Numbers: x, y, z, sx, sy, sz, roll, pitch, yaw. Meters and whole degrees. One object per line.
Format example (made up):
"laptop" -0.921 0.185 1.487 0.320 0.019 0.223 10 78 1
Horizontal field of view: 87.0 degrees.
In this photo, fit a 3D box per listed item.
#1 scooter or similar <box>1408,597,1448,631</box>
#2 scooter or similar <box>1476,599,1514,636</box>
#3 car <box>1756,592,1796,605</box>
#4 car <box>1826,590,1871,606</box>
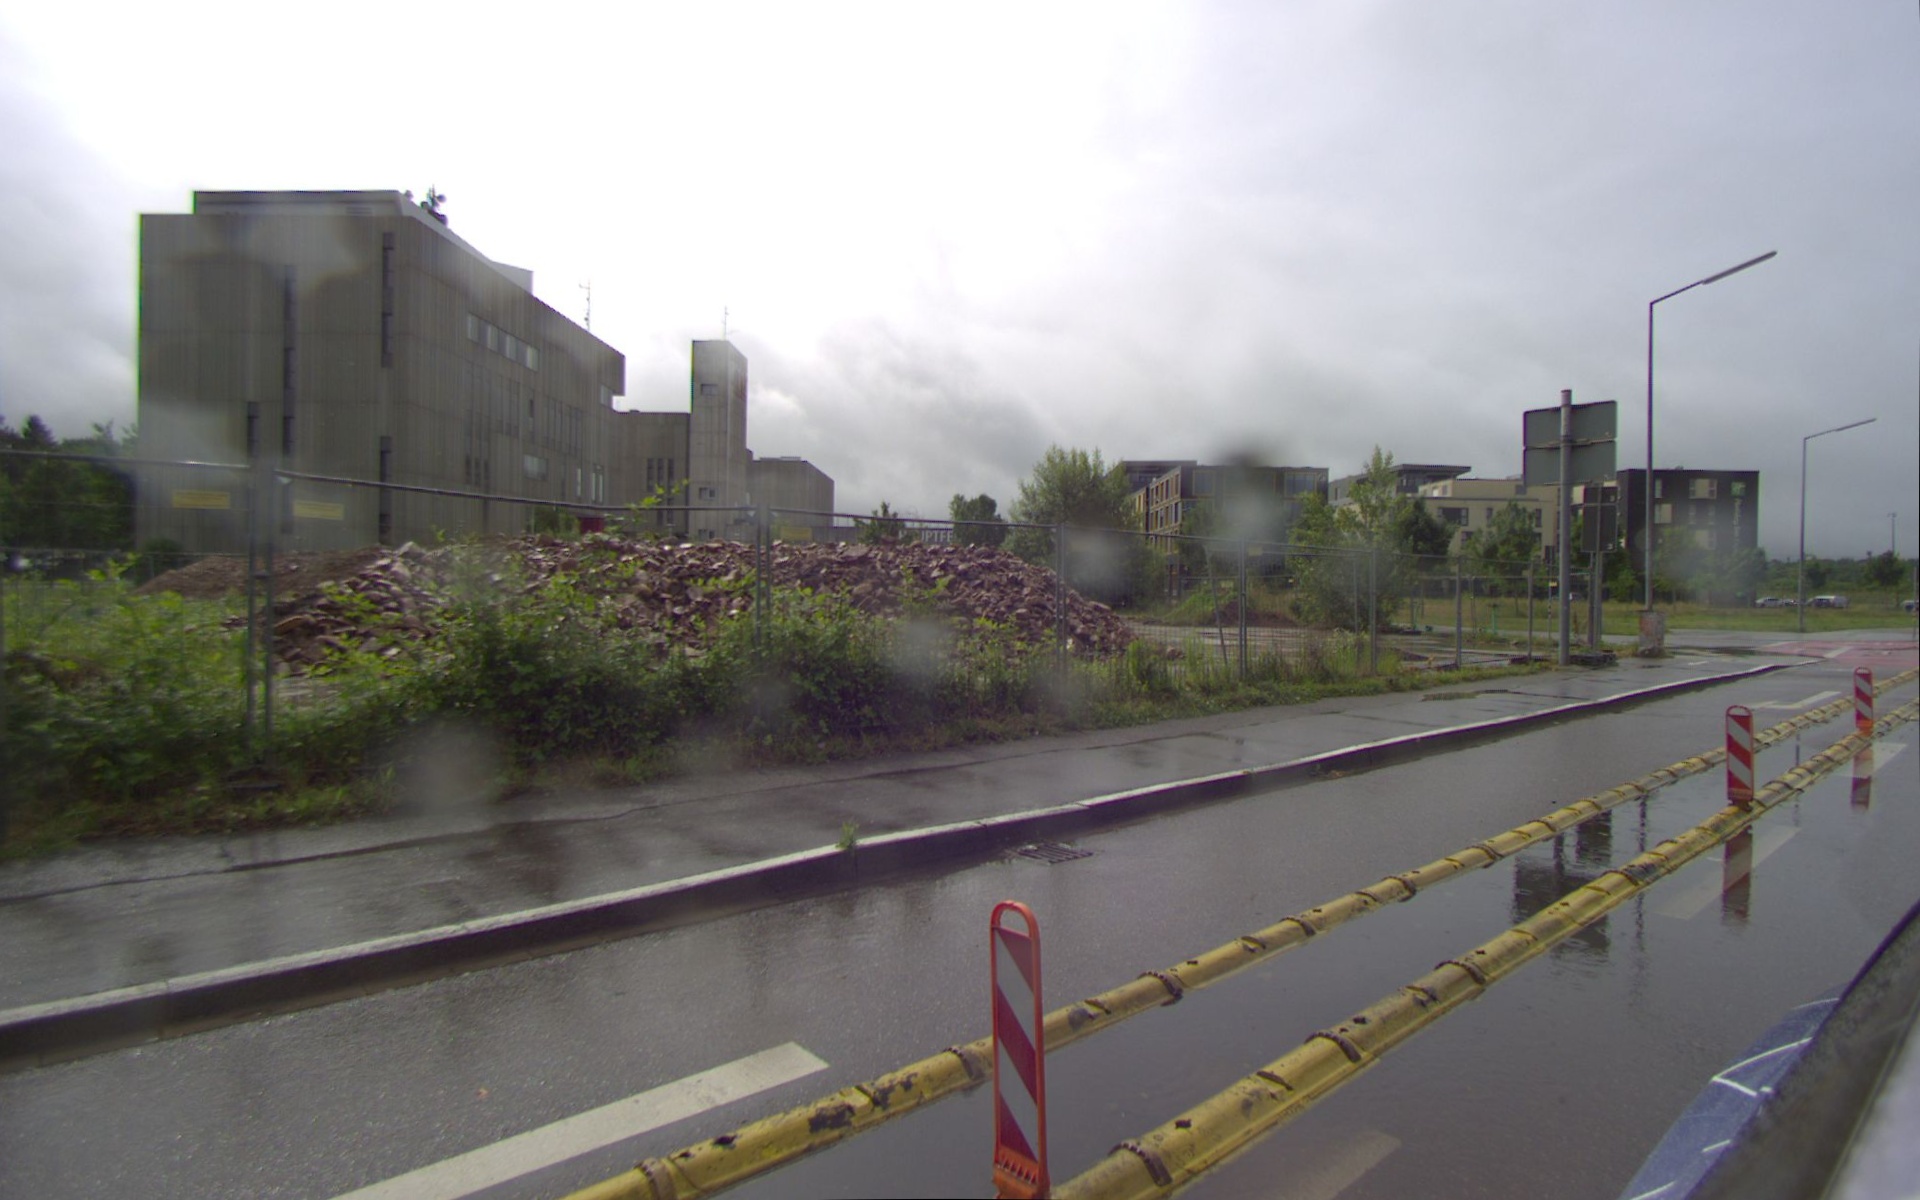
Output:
"scooter or similar" 16.747 0.499 36.231 0.731 1.165 1.197 1 1 -8
"scooter or similar" 17.725 0.567 33.534 0.473 1.165 1.197 1 1 -8
"car" 104.702 -0.232 129.901 3.589 1.631 1.596 1 0 9
"car" 115.236 -0.312 131.314 3.929 2.039 1.997 1 0 5
